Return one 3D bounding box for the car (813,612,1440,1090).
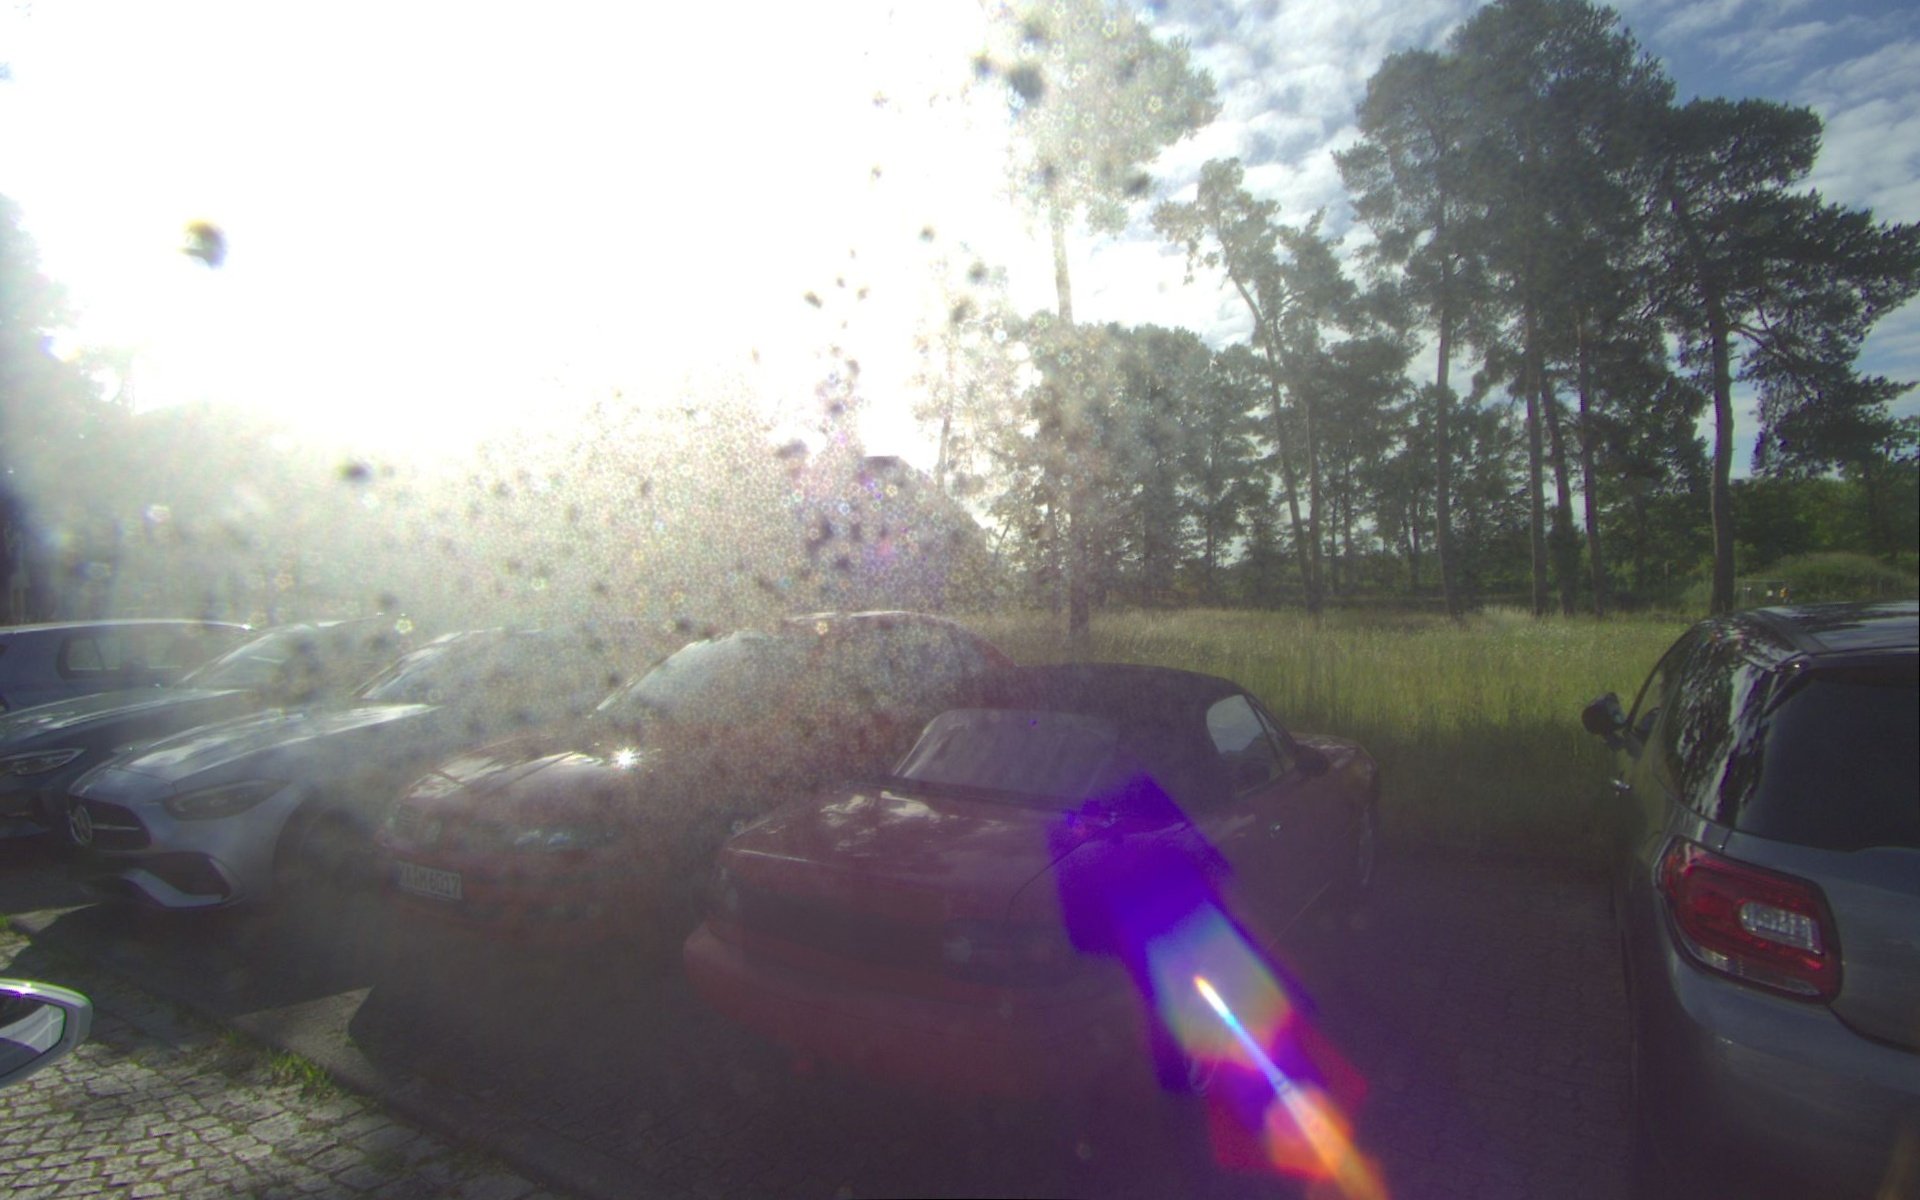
[{"bbox_3d":[1.166,0.756,4.926,1.722,1.240,3.697,0,2,33],"label":"car"}]

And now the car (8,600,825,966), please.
[{"bbox_3d":[-3.020,0.792,6.617,1.755,1.434,4.420,0,2,33],"label":"car"}]

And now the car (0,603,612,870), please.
[{"bbox_3d":[-5.240,0.820,8.084,1.613,1.434,4.547,0,2,33],"label":"car"}]

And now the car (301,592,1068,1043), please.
[{"bbox_3d":[-1.045,0.746,5.629,1.613,1.469,4.116,0,2,33],"label":"car"}]

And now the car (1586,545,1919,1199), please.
[{"bbox_3d":[3.074,0.571,3.222,1.790,1.469,3.698,0,2,32],"label":"car"}]

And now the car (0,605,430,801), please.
[{"bbox_3d":[-7.466,0.835,9.621,1.613,1.434,3.872,0,2,33],"label":"car"}]
